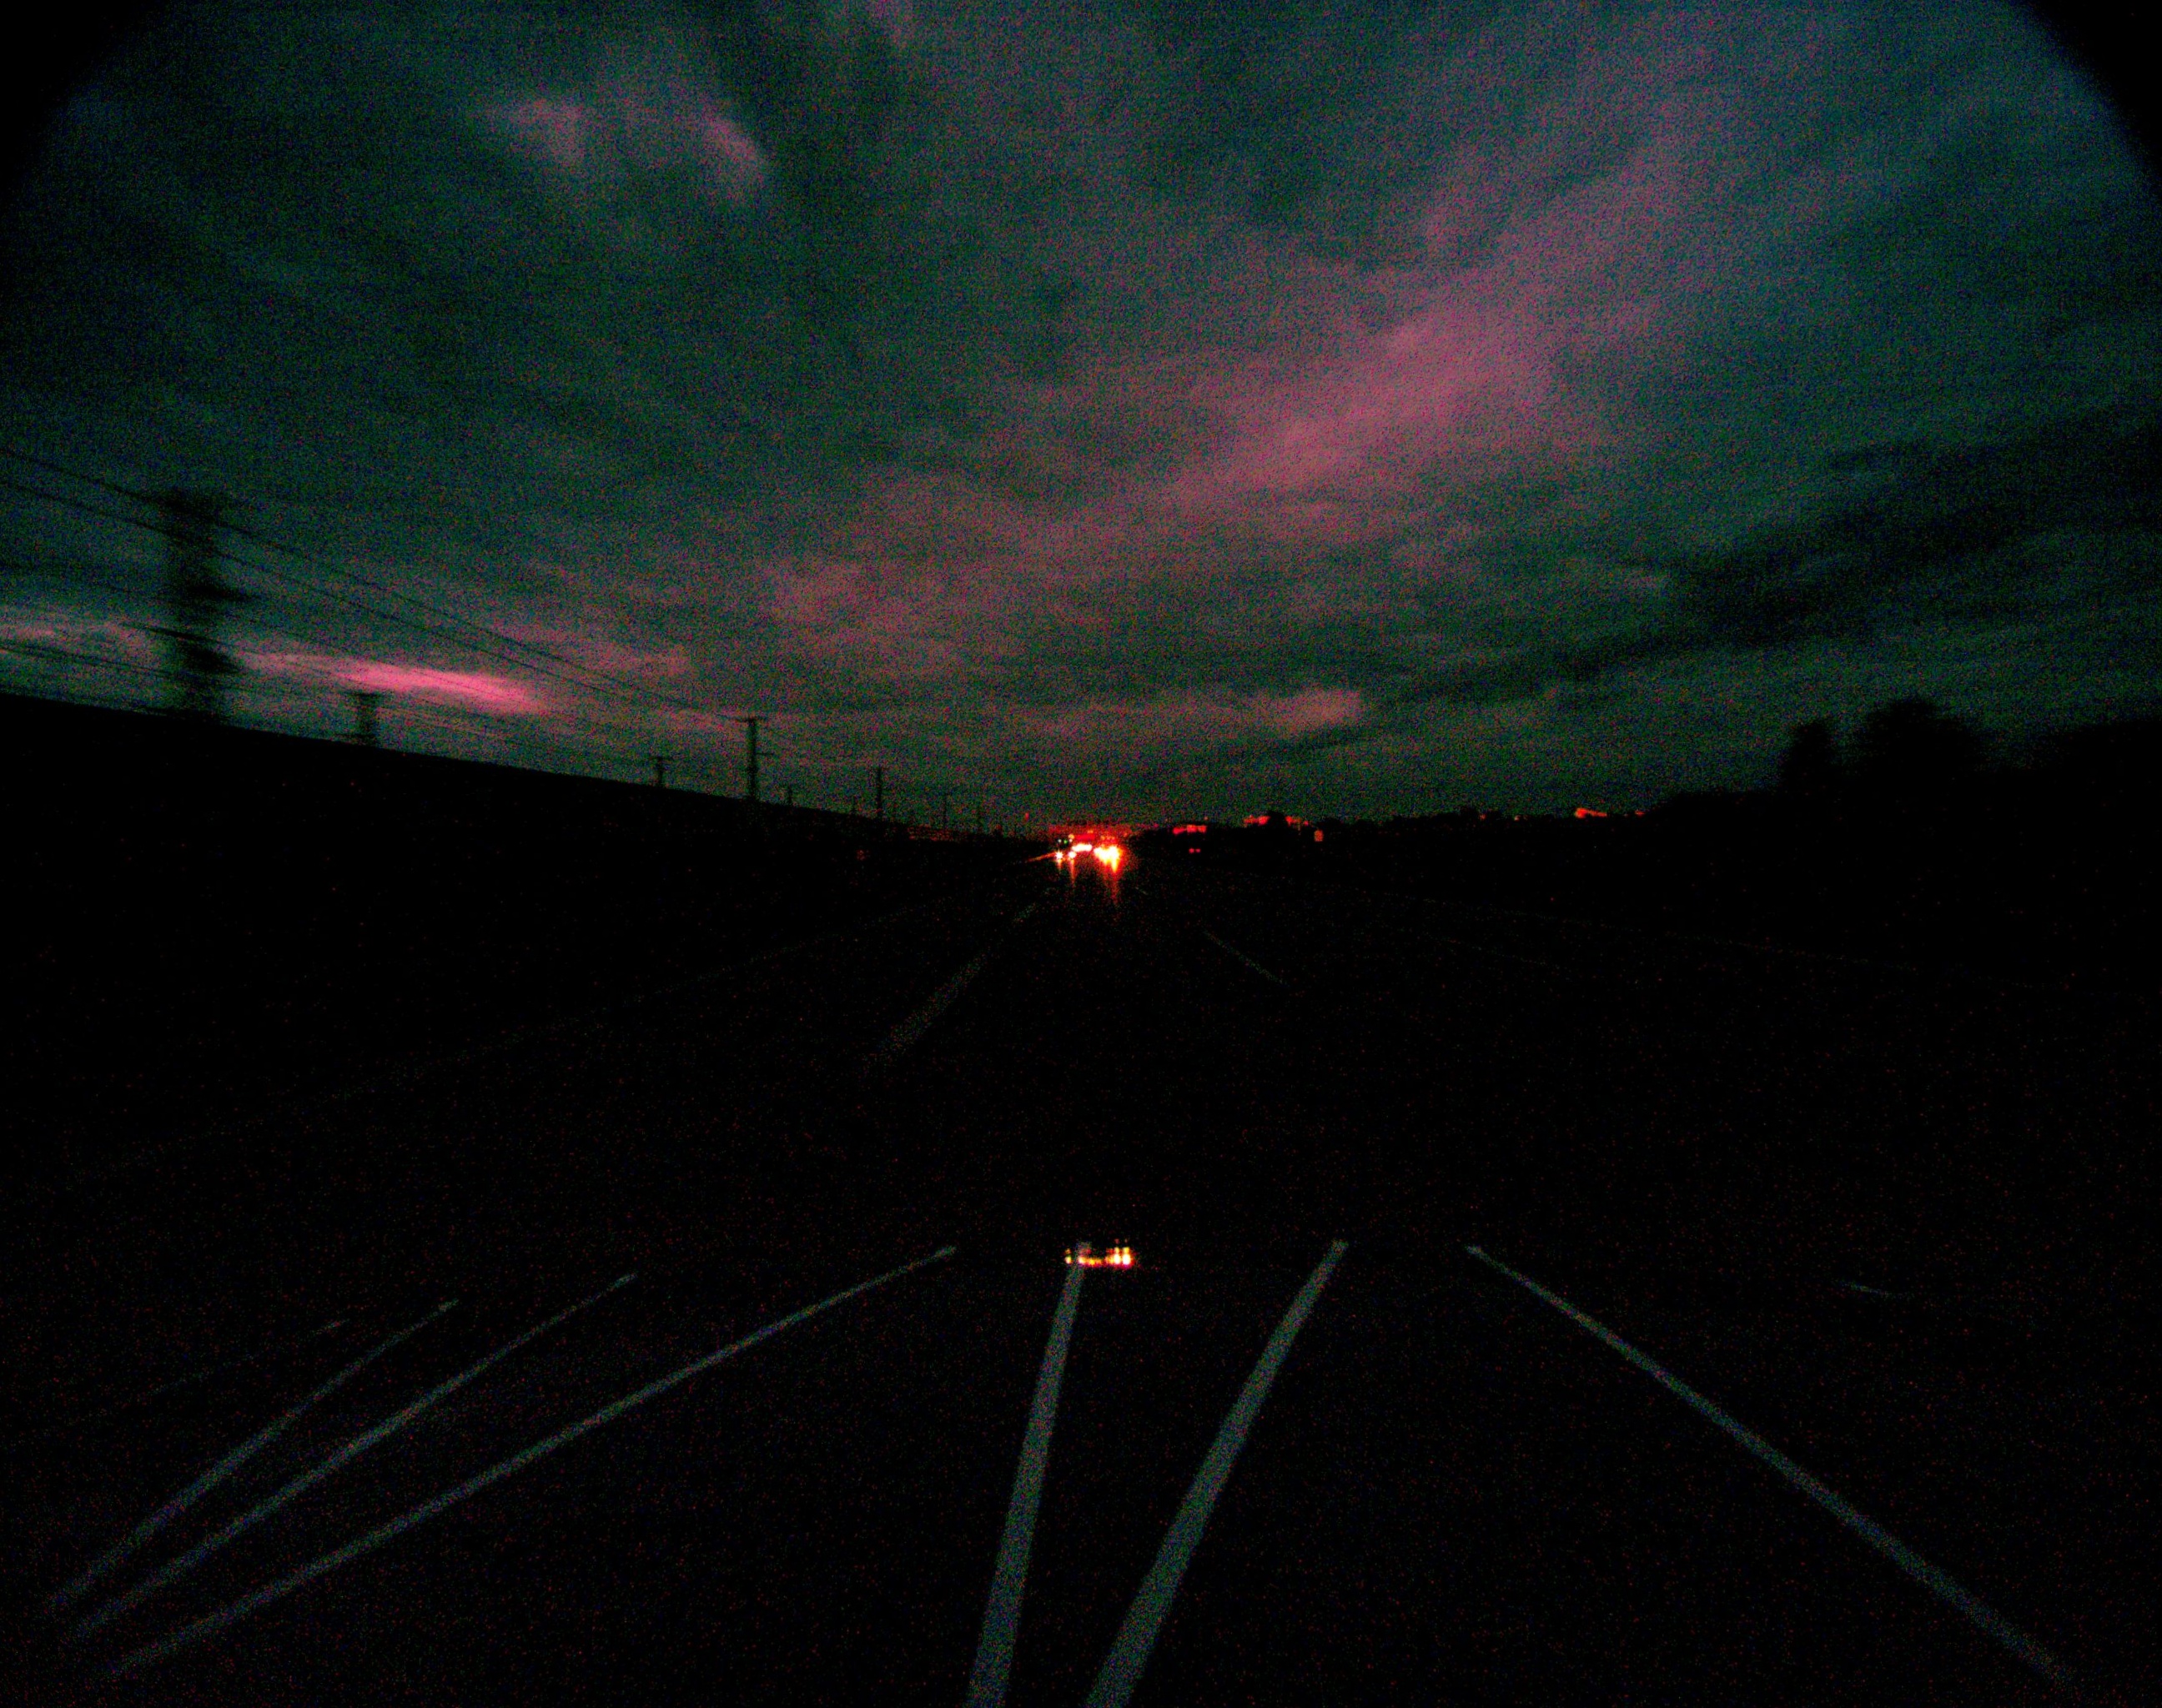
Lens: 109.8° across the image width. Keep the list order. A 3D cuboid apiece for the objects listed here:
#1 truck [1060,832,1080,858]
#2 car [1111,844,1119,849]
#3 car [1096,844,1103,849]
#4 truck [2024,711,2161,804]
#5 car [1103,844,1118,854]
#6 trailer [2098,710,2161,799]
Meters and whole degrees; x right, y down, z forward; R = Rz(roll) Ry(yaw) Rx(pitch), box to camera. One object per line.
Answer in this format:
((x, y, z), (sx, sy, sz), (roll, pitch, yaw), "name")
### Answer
((-1.793, -1.454, 129.345), (3.060, 4.047, 10.521), (1, -1, 0), "truck")
((9.449, -2.169, 213.757), (1.999, 1.342, 4.174), (-1, 1, -1), "car")
((4.946, -2.088, 203.007), (1.998, 1.342, 4.175), (-1, 1, 1), "car")
((52.050, -4.743, 38.041), (2.698, 4.048, 5.474), (-1, 1, -5), "truck")
((4.408, -0.768, 114.189), (1.999, 1.342, 4.175), (3, 1, 0), "car")
((52.583, -4.765, 31.788), (2.698, 4.048, 12.485), (-1, 0, -5), "trailer")
